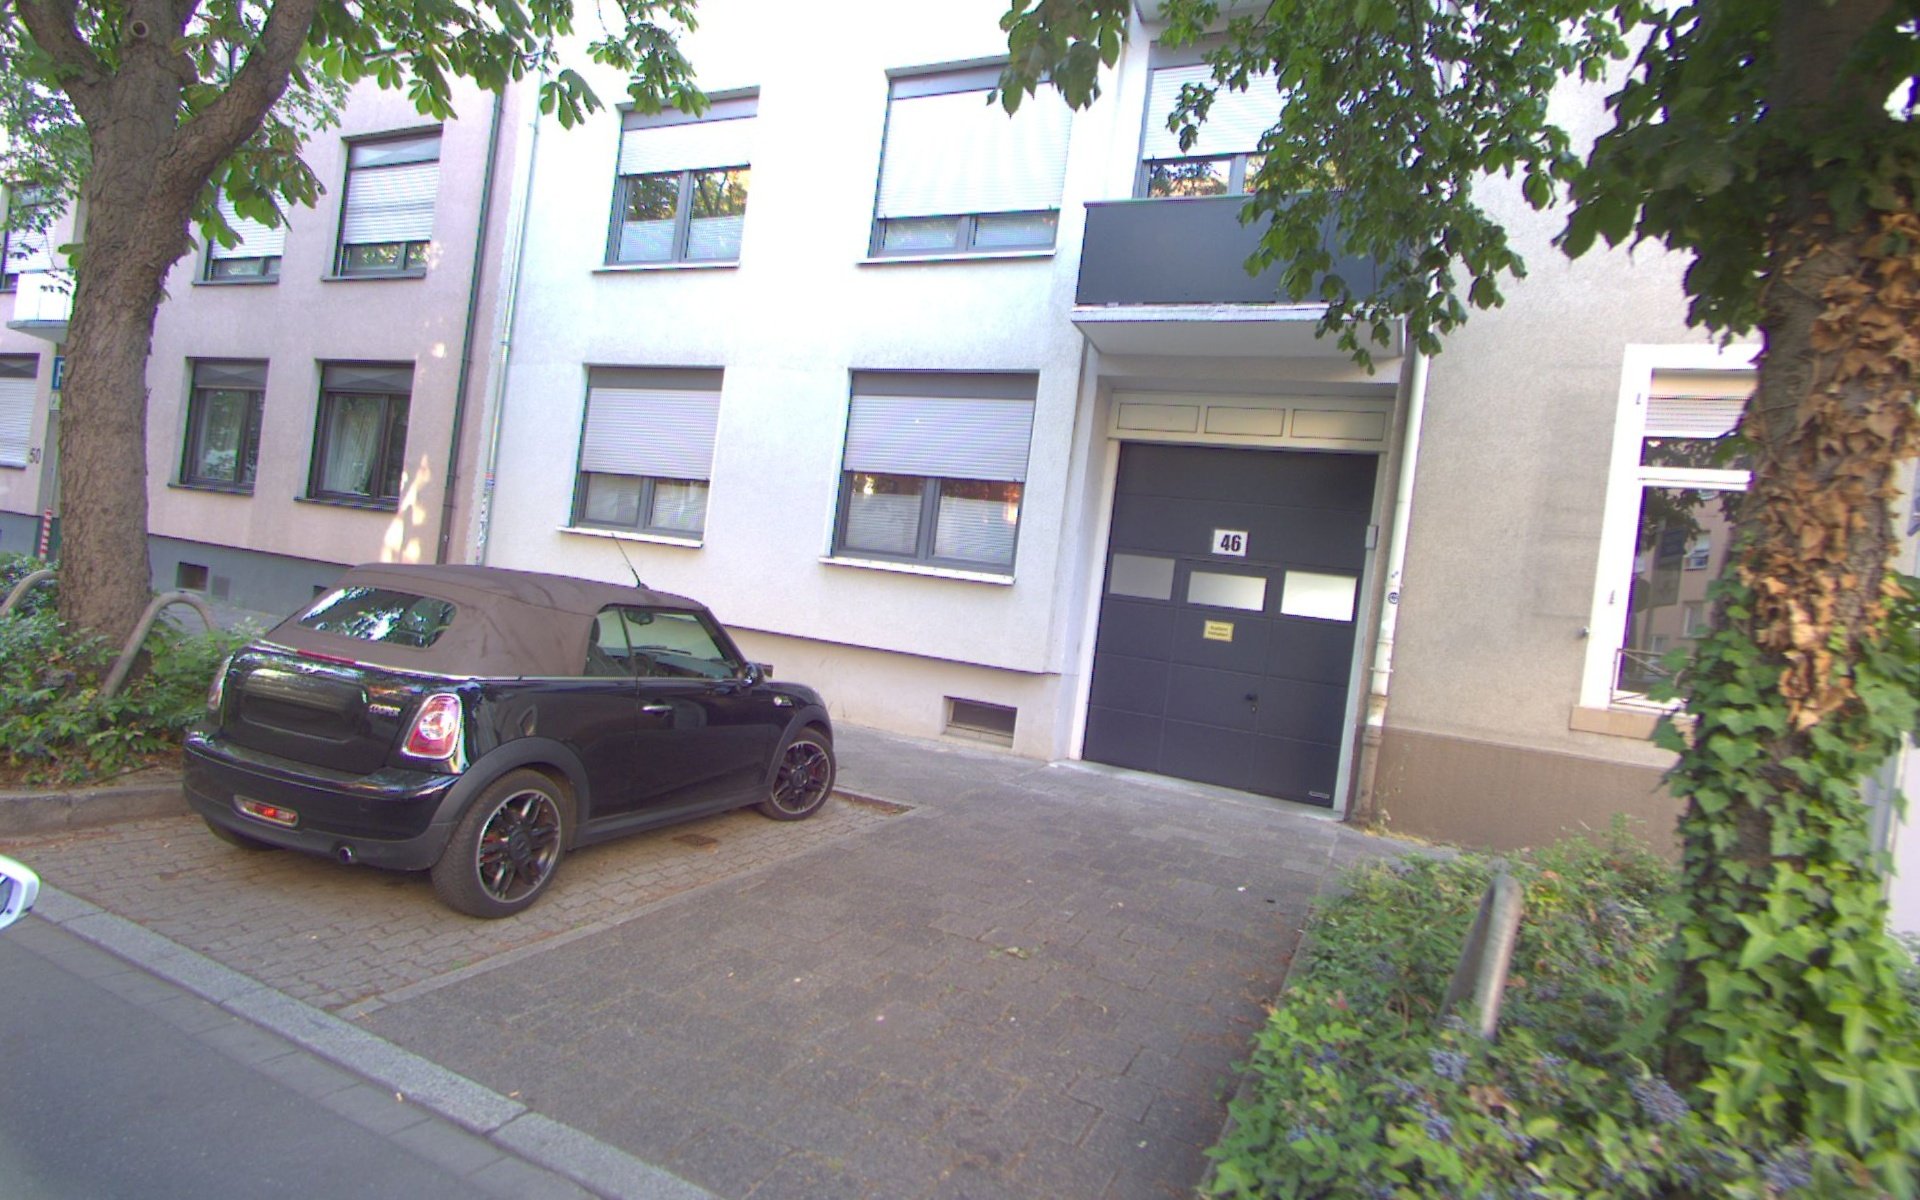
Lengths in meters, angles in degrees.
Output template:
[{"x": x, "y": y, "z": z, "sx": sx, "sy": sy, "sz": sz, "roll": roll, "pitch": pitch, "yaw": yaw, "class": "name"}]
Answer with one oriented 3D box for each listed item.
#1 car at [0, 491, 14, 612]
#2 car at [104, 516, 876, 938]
[{"x": -13.406, "y": -0.816, "z": 11.088, "sx": 1.634, "sy": 1.494, "sz": 3.921, "roll": 7, "pitch": -1, "yaw": 24, "class": "car"}, {"x": -2.079, "y": 0.540, "z": 5.569, "sx": 1.634, "sy": 1.380, "sz": 3.622, "roll": 7, "pitch": -1, "yaw": 22, "class": "car"}]
